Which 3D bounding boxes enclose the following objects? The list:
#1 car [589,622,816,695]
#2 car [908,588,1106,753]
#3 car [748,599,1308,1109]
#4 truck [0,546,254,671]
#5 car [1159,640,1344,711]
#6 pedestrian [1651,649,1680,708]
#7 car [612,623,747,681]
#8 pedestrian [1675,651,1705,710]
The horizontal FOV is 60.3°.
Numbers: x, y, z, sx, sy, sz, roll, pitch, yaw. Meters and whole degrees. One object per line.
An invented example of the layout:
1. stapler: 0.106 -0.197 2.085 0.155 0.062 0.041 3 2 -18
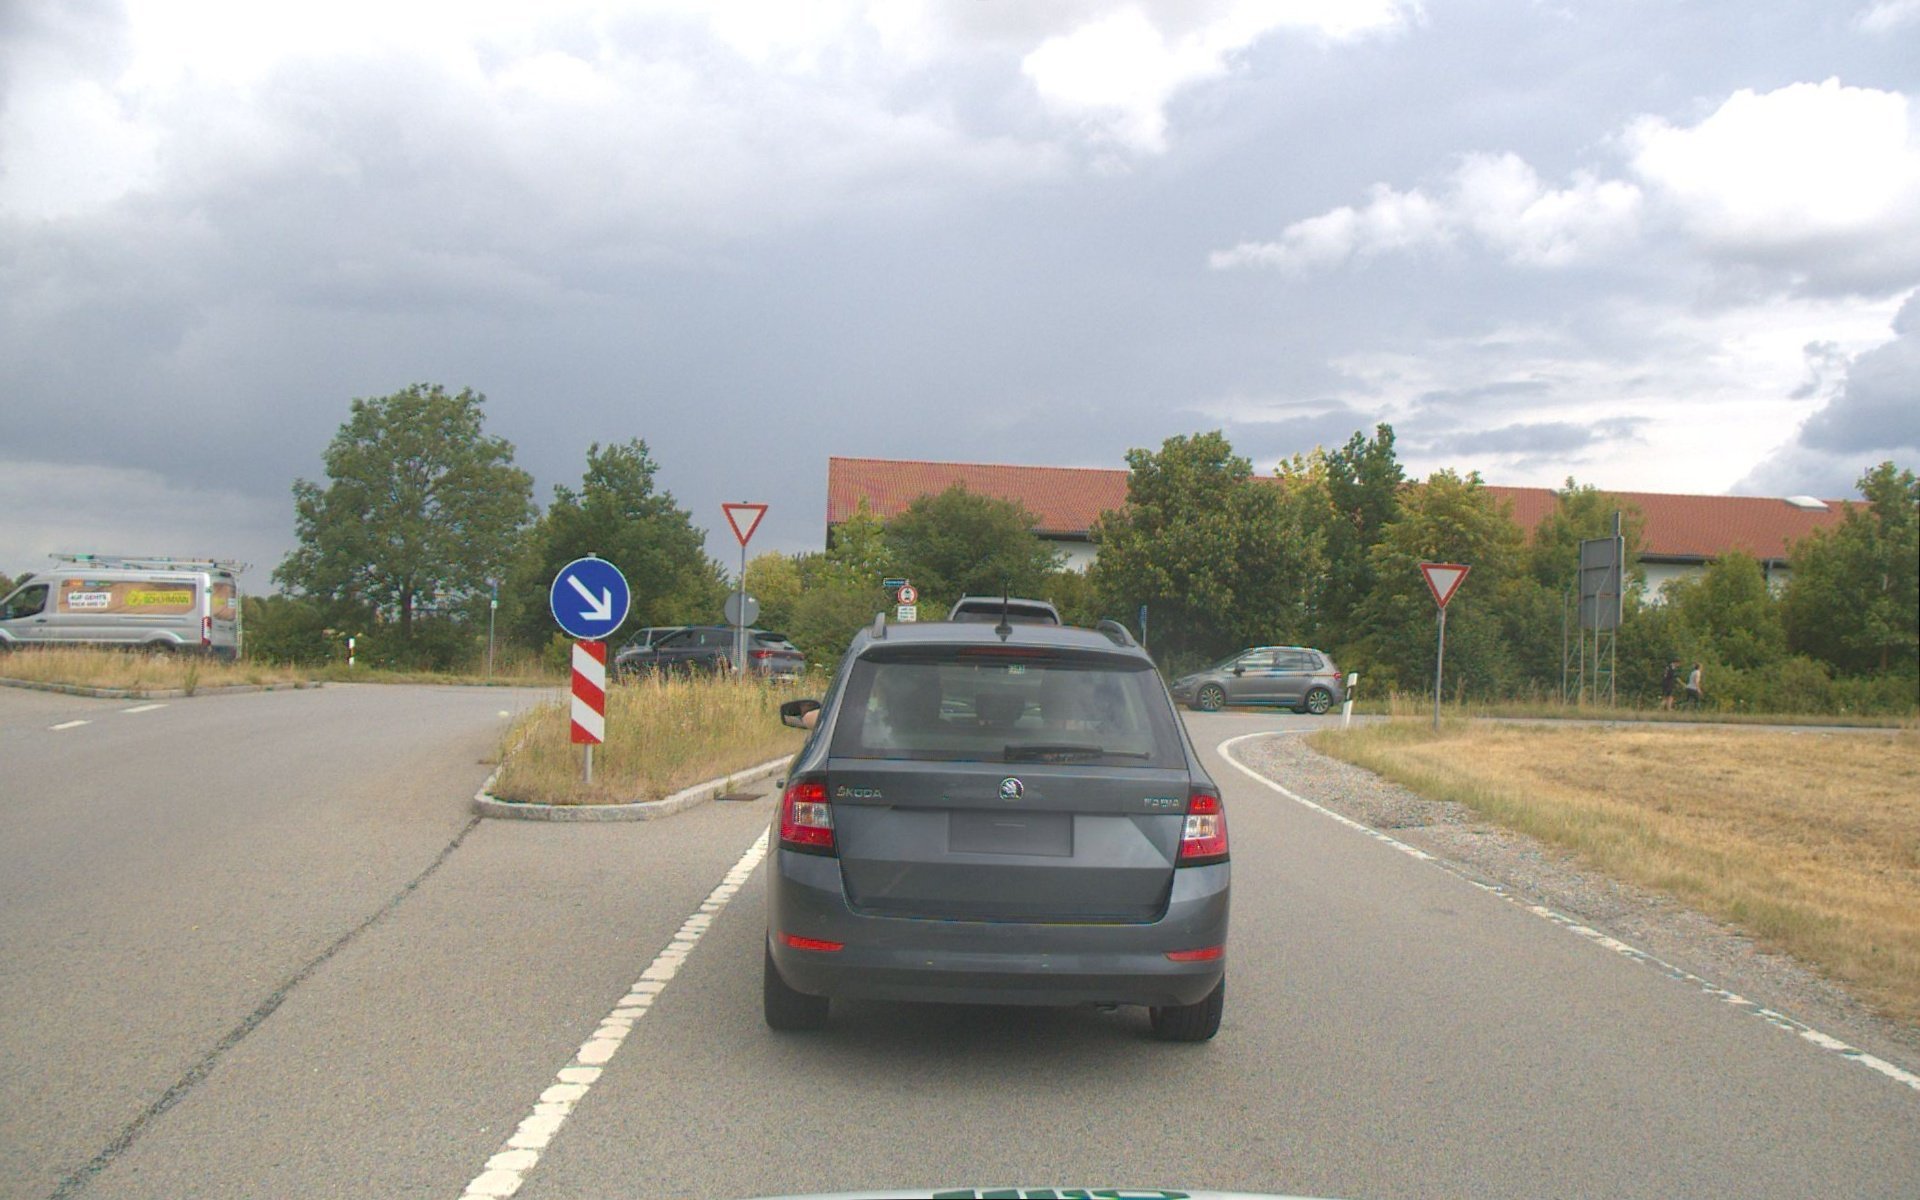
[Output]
1. car: -5.264 1.176 33.976 4.249 1.368 1.683 1 -1 11
2. car: 0.464 0.872 20.974 1.955 1.806 4.638 2 -2 -5
3. car: 0.181 0.774 6.769 1.642 1.488 3.707 1 -1 -1
4. truck: -19.793 0.190 38.316 5.907 2.750 2.064 1 -1 -6
5. car: 7.086 1.828 40.443 4.126 1.629 1.999 0 -1 -3
6. pedestrian: 21.093 2.345 49.467 0.614 1.712 0.529 1 -1 -10
7. car: -10.675 1.942 62.868 4.814 2.049 2.334 1 -1 35
8. pedestrian: 21.341 2.356 48.365 0.614 1.712 0.529 1 -1 -10
